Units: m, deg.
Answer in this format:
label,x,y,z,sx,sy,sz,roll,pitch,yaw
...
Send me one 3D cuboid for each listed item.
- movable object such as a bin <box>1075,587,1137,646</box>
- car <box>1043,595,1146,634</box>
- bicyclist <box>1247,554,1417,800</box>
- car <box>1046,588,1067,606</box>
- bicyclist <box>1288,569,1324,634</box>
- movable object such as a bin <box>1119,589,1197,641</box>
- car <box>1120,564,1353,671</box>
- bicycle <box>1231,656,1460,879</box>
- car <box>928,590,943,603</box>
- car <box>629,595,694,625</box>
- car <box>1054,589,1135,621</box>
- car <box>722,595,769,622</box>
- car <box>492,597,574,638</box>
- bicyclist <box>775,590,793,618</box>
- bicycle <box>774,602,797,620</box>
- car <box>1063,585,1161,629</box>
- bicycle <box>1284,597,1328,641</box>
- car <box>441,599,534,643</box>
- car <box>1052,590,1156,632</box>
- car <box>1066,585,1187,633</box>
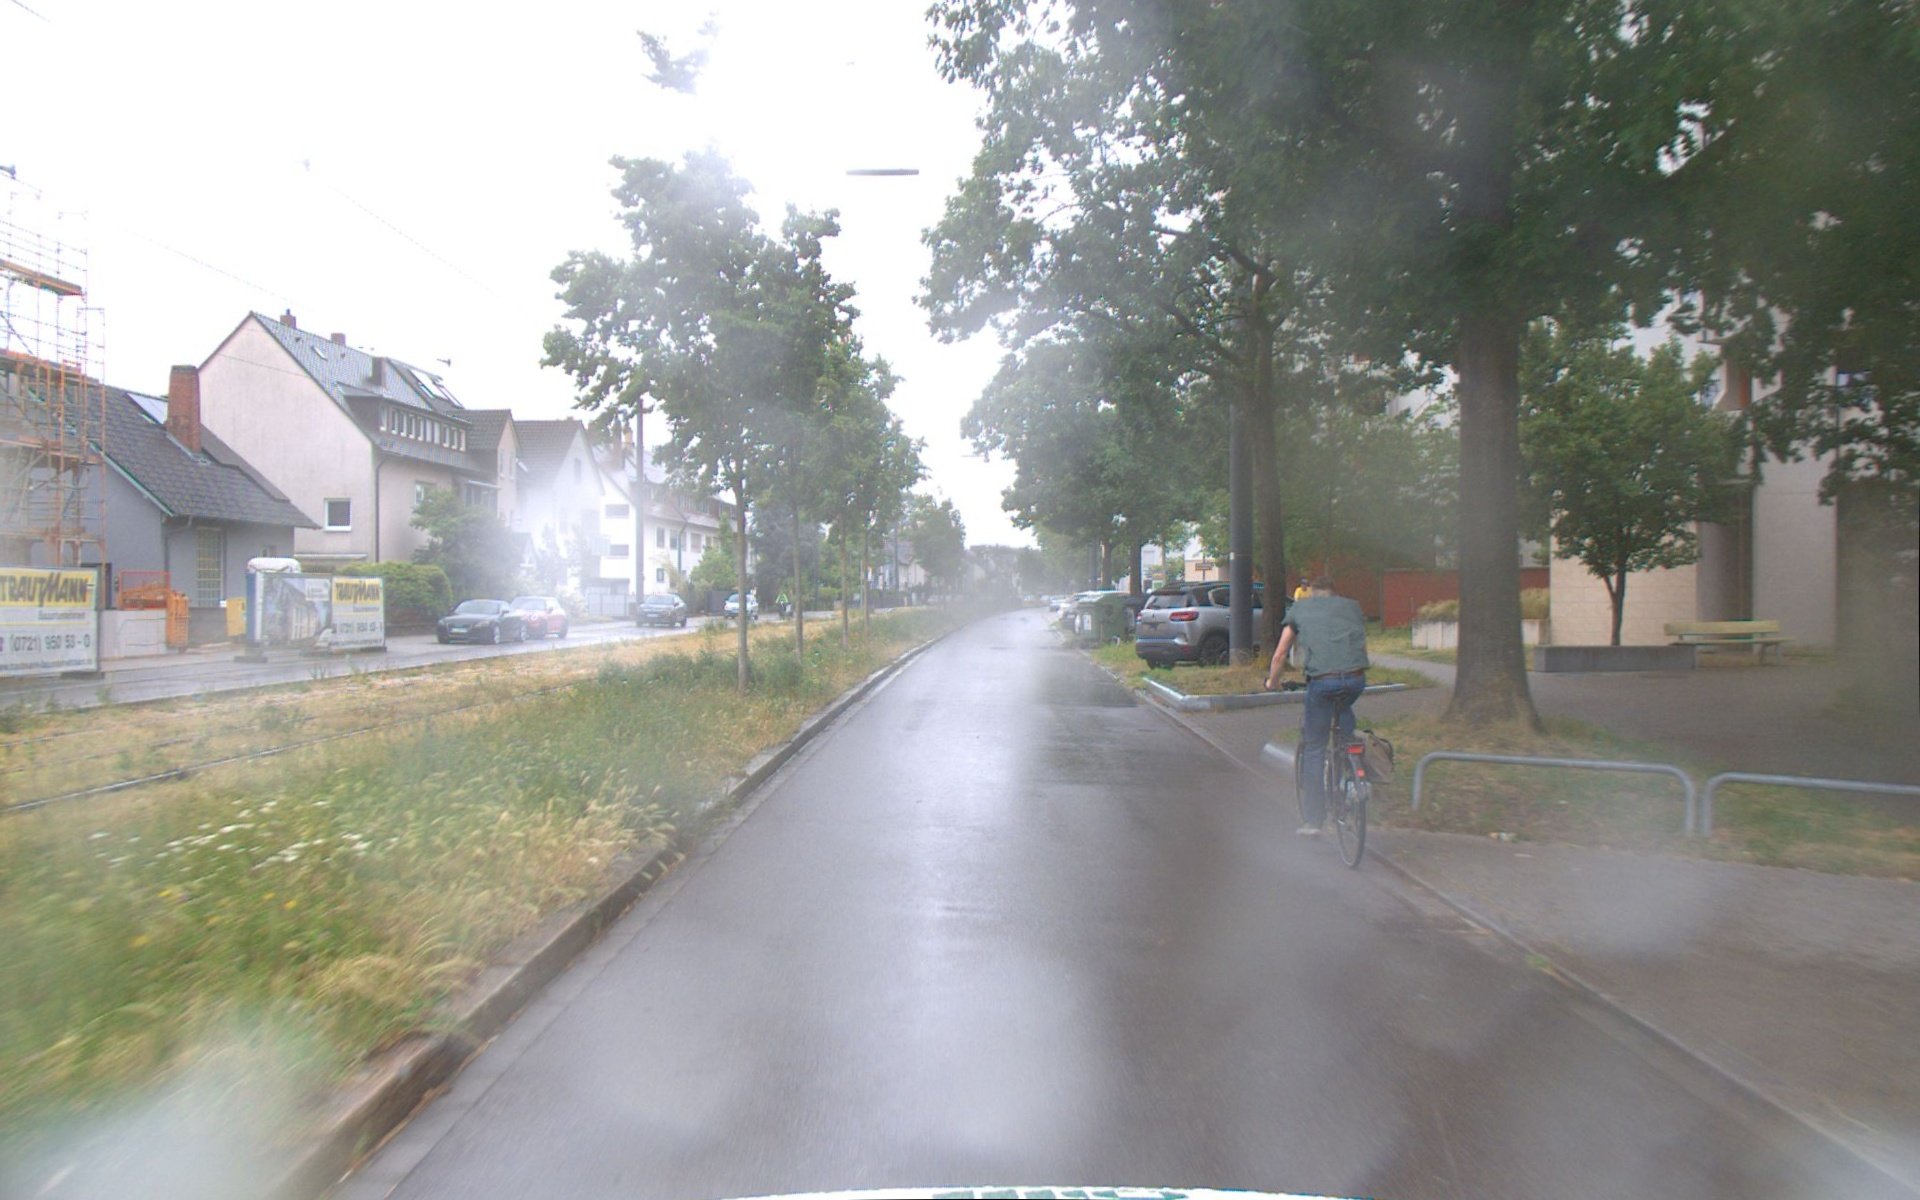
label,x,y,z,sx,sy,sz,roll,pitch,yaw
movable object such as a bin,4.008,0.430,45.410,1.109,1.482,1.393,-6,2,-19
car,5.269,0.544,64.640,3.995,1.468,1.566,-1,0,-36
bicyclist,2.322,0.456,10.437,0.793,1.458,1.060,-1,0,-2
car,8.886,-0.267,152.650,1.795,1.614,4.001,0,0,2
bicyclist,8.833,0.035,42.246,0.719,1.622,0.945,-1,0,1
movable object such as a bin,5.462,0.399,45.694,1.656,1.349,1.393,-3,1,-20
car,5.319,0.299,31.734,4.094,1.749,1.979,-4,2,-31
bicycle,2.335,0.968,10.392,0.793,1.116,2.516,-1,0,-1
car,-3.193,-0.426,218.692,1.805,1.701,4.001,0,0,2
car,-13.986,0.458,77.775,1.857,1.266,4.690,2,0,4
car,6.706,0.240,82.567,3.995,1.539,1.566,-1,0,-36
car,-12.899,0.487,99.908,1.857,1.495,4.690,2,0,4
car,-14.685,0.583,57.057,1.640,1.266,3.856,2,0,2
bicyclist,-10.820,0.234,101.702,0.997,1.715,1.092,0,0,1
bicycle,-10.799,0.662,102.438,0.997,1.045,3.197,0,0,1
car,6.270,0.264,68.032,3.995,1.733,1.566,-1,0,-36
bicycle,8.842,0.466,42.285,0.719,1.075,2.051,-1,0,1
car,-14.764,0.635,51.870,1.629,1.266,4.072,2,0,2
car,5.344,0.395,61.186,4.008,1.468,1.561,-1,0,-43
car,5.612,0.290,55.544,3.991,1.545,1.567,-1,0,-33
